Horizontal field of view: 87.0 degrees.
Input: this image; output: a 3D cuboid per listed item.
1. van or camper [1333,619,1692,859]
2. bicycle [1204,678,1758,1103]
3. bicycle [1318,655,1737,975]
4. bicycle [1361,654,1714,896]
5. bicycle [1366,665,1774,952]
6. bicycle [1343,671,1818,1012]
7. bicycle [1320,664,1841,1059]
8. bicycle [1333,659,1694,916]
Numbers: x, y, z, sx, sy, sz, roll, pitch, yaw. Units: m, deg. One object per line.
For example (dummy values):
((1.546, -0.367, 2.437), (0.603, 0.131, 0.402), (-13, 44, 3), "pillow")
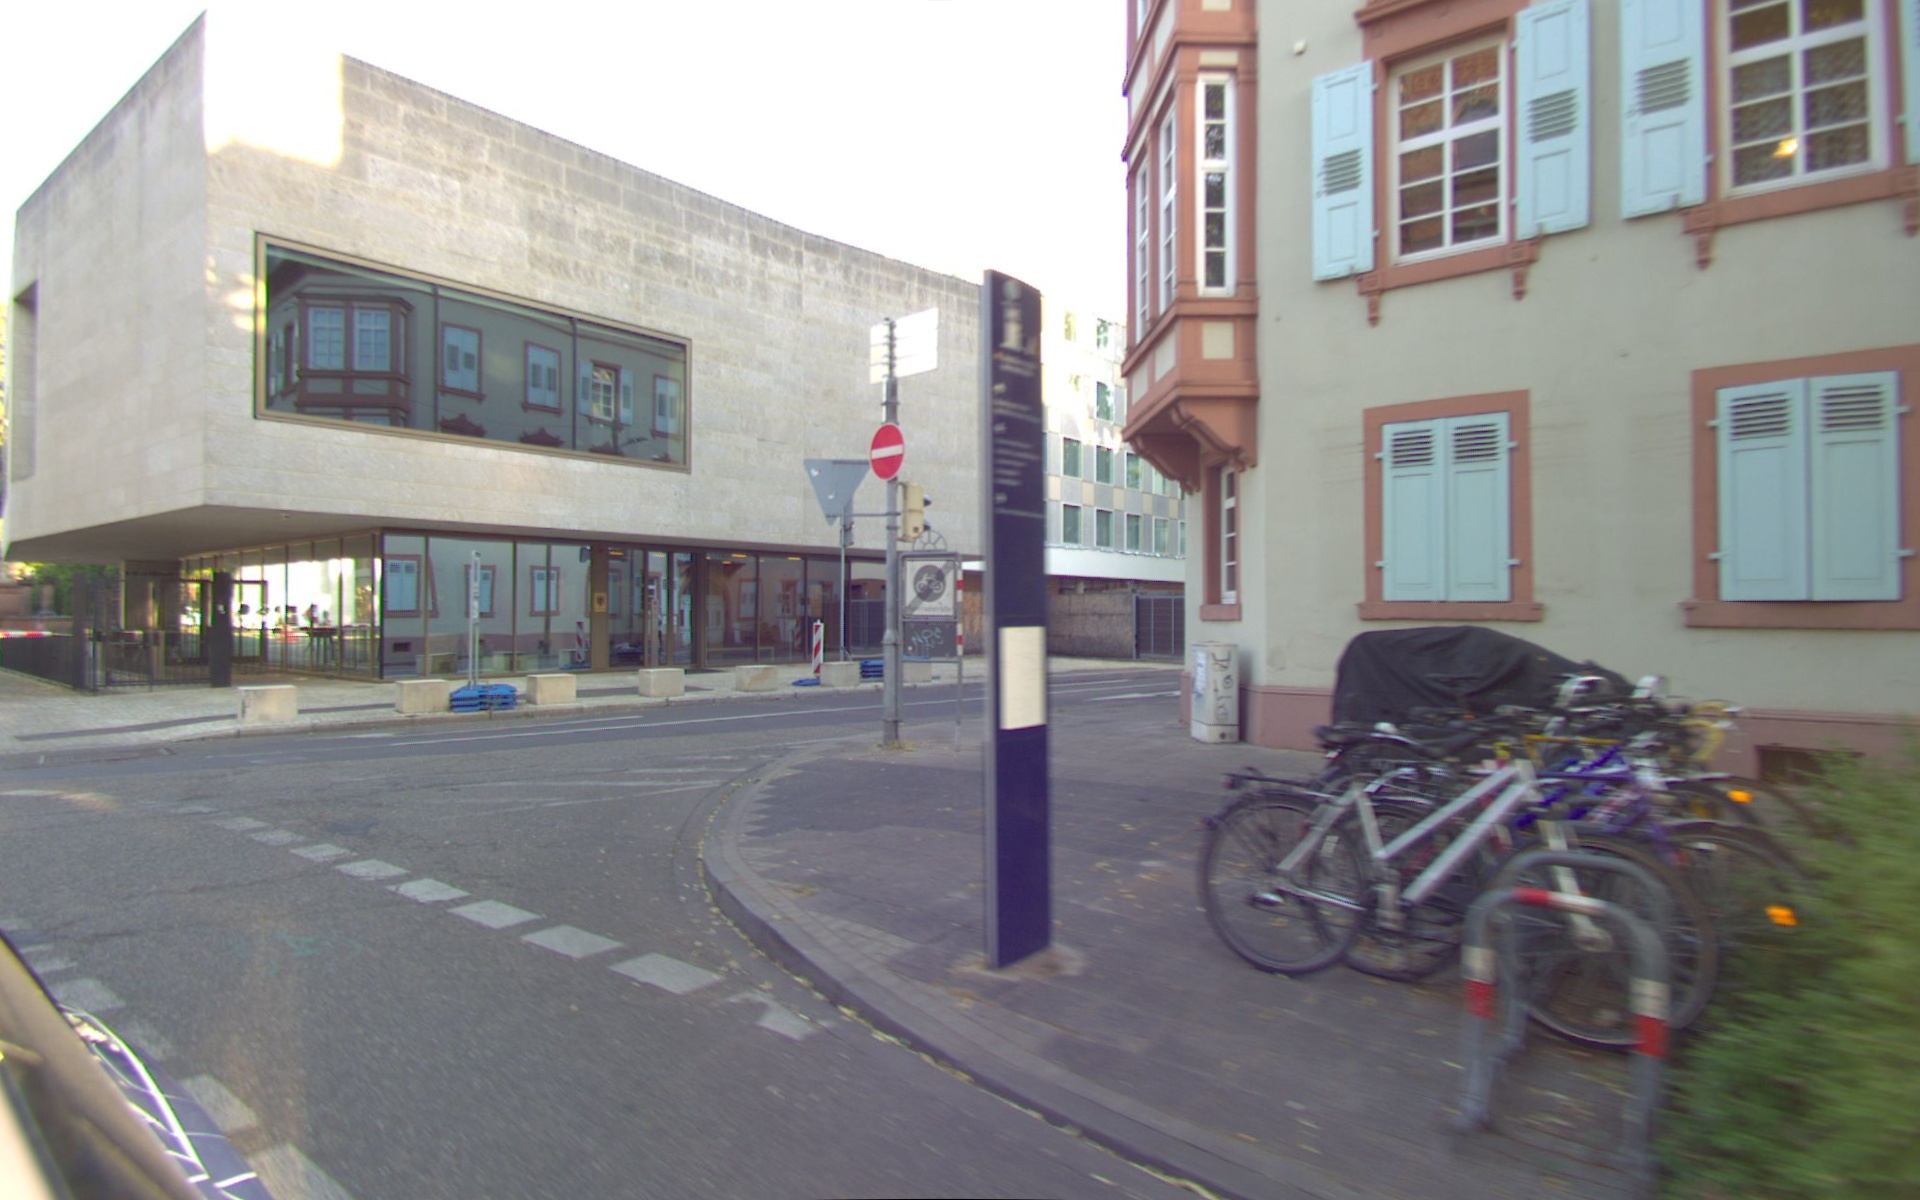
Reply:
((3.487, 0.775, 6.477), (1.845, 1.269, 0.931), (-1, 0, 43), "van or camper")
((1.754, 0.893, 3.622), (1.711, 1.116, 0.391), (0, 1, 41), "bicycle")
((2.457, 0.860, 4.531), (1.611, 1.157, 0.308), (0, 0, 41), "bicycle")
((3.055, 0.864, 5.466), (1.595, 1.090, 0.391), (-1, 0, 41), "bicycle")
((2.768, 0.881, 4.730), (1.595, 1.090, 0.337), (-1, -2, 41), "bicycle")
((2.417, 0.870, 4.099), (1.595, 1.090, 0.315), (-1, 0, 41), "bicycle")
((2.202, 0.846, 3.762), (1.595, 1.149, 0.327), (-1, 0, 41), "bicycle")
((2.771, 0.883, 5.201), (1.595, 1.090, 0.319), (0, -1, 41), "bicycle")
